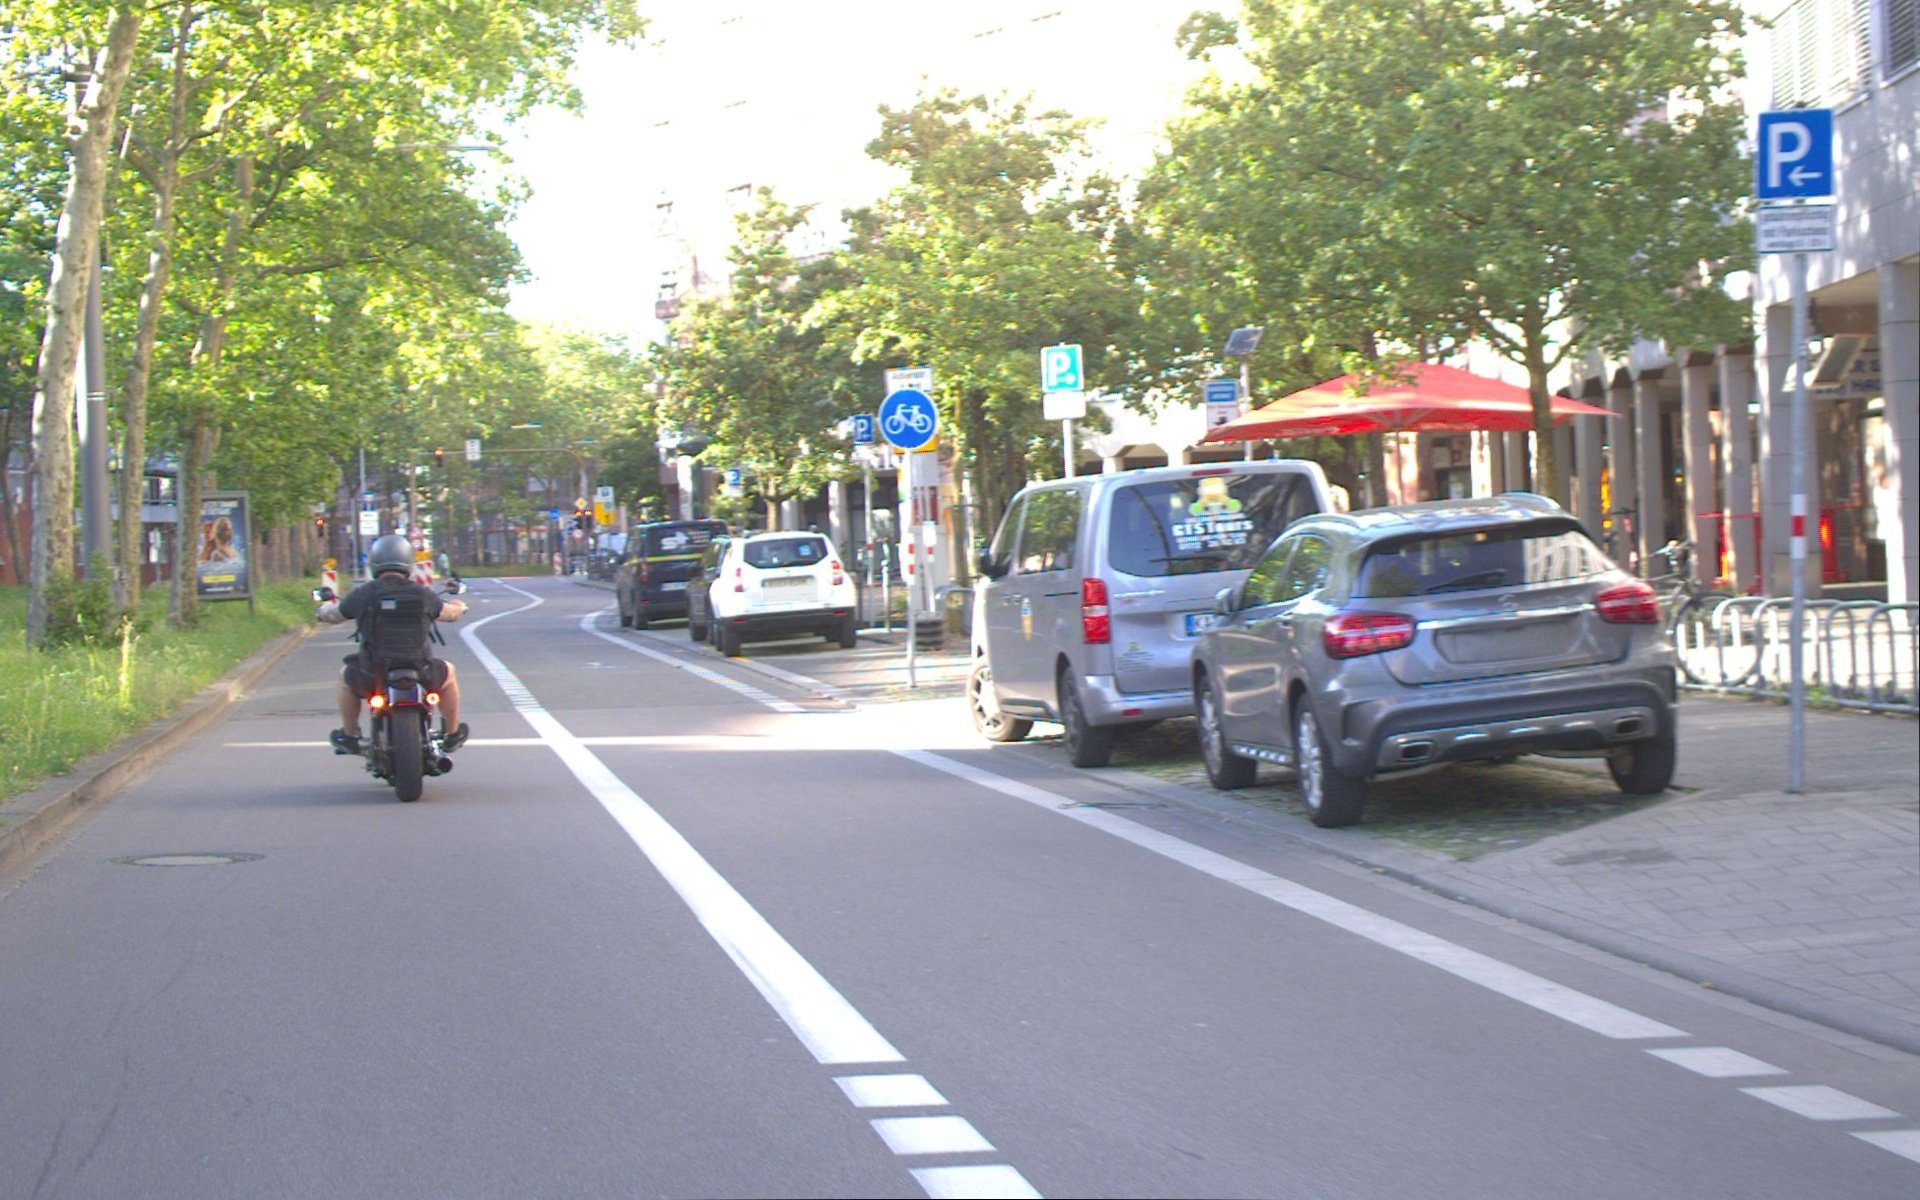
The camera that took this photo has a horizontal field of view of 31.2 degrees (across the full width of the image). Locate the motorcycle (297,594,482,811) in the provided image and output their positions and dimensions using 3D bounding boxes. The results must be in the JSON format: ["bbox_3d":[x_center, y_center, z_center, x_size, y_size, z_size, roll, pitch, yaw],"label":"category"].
[{"bbox_3d":[-3.480,0.584,20.906,1.005,1.121,2.324,-3,2,-10],"label":"motorcycle"}]

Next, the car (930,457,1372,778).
[{"bbox_3d":[1.177,0.077,23.770,1.922,1.837,4.926,-5,1,-9],"label":"car"}]

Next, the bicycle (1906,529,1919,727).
[{"bbox_3d":[6.477,0.111,19.867,1.832,1.147,0.470,-4,1,-3],"label":"bicycle"}]

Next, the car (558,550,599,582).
[{"bbox_3d":[-21.587,-1.924,194.703,1.993,1.700,4.001,-2,1,-2],"label":"car"}]

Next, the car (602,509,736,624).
[{"bbox_3d":[-5.482,-0.646,64.351,2.029,1.970,4.416,-3,1,-9],"label":"car"}]

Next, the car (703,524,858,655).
[{"bbox_3d":[-2.510,-0.167,47.231,1.859,1.632,3.869,-3,1,-6],"label":"car"}]

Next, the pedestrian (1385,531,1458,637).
[{"bbox_3d":[6.930,-0.252,51.672,0.870,1.541,0.994,-2,1,-3],"label":"pedestrian"}]

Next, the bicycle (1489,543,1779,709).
[{"bbox_3d":[4.820,0.172,24.615,1.866,1.097,0.741,-2,1,-12],"label":"bicycle"}]

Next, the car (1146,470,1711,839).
[{"bbox_3d":[2.306,0.215,18.172,1.859,1.567,4.416,-5,1,-6],"label":"car"}]

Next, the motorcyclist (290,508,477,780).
[{"bbox_3d":[-3.507,0.242,20.895,1.022,1.547,1.287,-3,2,-10],"label":"motorcyclist"}]

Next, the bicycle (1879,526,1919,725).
[{"bbox_3d":[6.446,0.092,20.344,1.832,1.147,0.470,-4,1,-3],"label":"bicycle"}]
